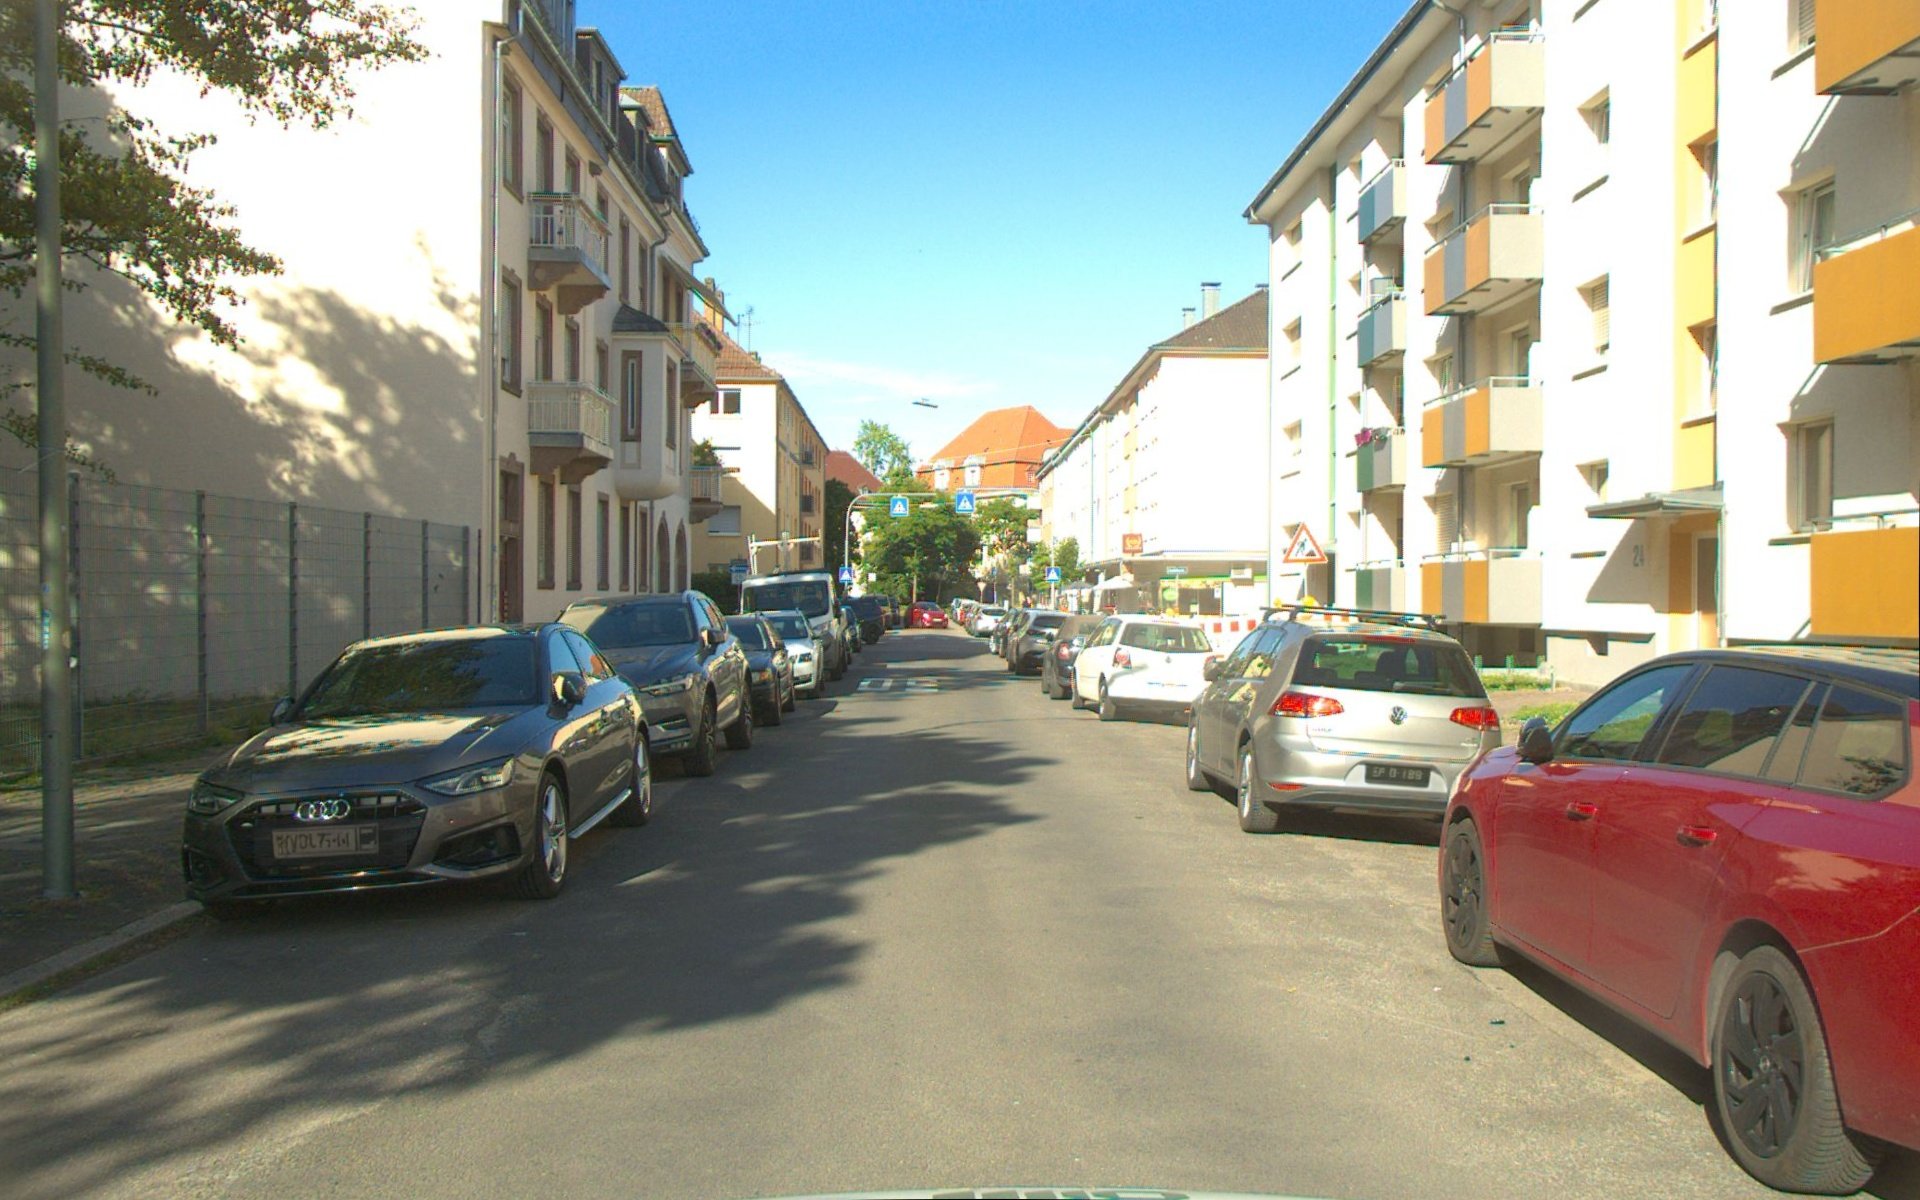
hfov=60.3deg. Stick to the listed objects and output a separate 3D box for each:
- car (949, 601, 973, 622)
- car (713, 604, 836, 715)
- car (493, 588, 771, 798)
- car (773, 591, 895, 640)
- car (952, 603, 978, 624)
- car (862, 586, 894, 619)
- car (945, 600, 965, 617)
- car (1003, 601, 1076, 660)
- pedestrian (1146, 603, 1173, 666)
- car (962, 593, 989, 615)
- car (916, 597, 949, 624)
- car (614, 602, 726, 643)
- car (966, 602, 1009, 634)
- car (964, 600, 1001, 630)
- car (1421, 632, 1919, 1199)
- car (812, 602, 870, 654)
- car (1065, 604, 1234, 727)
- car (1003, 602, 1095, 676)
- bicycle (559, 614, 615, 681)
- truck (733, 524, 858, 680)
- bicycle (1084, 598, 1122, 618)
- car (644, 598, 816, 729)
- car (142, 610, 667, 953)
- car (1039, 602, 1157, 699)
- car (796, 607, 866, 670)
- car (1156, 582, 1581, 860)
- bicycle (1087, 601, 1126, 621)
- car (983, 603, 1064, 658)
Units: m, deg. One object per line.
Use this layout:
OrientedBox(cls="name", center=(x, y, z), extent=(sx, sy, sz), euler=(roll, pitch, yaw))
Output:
OrientedBox(cls="car", center=(0.091, 0.834, 119.320), extent=(1.605, 1.466, 3.417), euler=(0, 0, -2))
OrientedBox(cls="car", center=(-3.136, 0.959, 28.818), extent=(1.757, 1.567, 4.638), euler=(-5, 1, -3))
OrientedBox(cls="car", center=(-3.003, 0.779, 16.214), extent=(1.841, 1.693, 4.930), euler=(-2, 0, -2))
OrientedBox(cls="car", center=(-4.348, 0.511, 57.670), extent=(1.795, 1.662, 4.231), euler=(0, 0, 42))
OrientedBox(cls="car", center=(0.332, 0.914, 114.527), extent=(1.605, 1.466, 3.417), euler=(0, 0, -2))
OrientedBox(cls="car", center=(-4.571, 0.149, 92.557), extent=(1.663, 1.810, 4.098), euler=(0, 0, -1))
OrientedBox(cls="car", center=(-0.427, 0.698, 143.075), extent=(1.605, 1.466, 3.417), euler=(0, 0, -2))
OrientedBox(cls="car", center=(2.098, 0.814, 44.521), extent=(1.612, 1.485, 3.938), euler=(1, -1, -2))
OrientedBox(cls="pedestrian", center=(4.652, 0.803, 38.629), extent=(0.563, 1.458, 0.471), euler=(-1, 0, 0))
OrientedBox(cls="car", center=(1.010, 0.265, 108.777), extent=(1.605, 1.466, 3.417), euler=(0, 0, -2))
OrientedBox(cls="car", center=(-1.534, 0.582, 93.571), extent=(1.662, 1.466, 3.419), euler=(0, 0, 2))
OrientedBox(cls="car", center=(-10.808, 0.825, 61.544), extent=(3.919, 1.505, 1.586), euler=(0, 0, -19))
OrientedBox(cls="car", center=(1.250, 0.829, 77.007), extent=(1.808, 1.466, 3.417), euler=(0, 0, -2))
OrientedBox(cls="car", center=(1.103, 0.719, 81.987), extent=(1.656, 1.466, 3.417), euler=(0, 0, -3))
OrientedBox(cls="car", center=(3.044, 0.880, 5.619), extent=(1.716, 1.469, 4.523), euler=(0, 0, 0))
OrientedBox(cls="car", center=(-3.721, 0.870, 52.209), extent=(1.670, 1.440, 4.371), euler=(-4, -1, -4))
OrientedBox(cls="car", center=(2.674, 0.894, 24.147), extent=(1.653, 1.488, 3.816), euler=(6, -1, -4))
OrientedBox(cls="car", center=(2.019, 0.877, 38.543), extent=(1.756, 1.496, 4.338), euler=(4, -1, -1))
OrientedBox(cls="bicycle", center=(-7.310, 0.917, 32.535), extent=(0.616, 1.225, 2.340), euler=(0, 1, -1))
OrientedBox(cls="truck", center=(-3.416, 0.076, 35.800), extent=(2.213, 3.038, 7.272), euler=(0, -1, -2))
OrientedBox(cls="bicycle", center=(7.031, 0.402, 81.477), extent=(1.774, 0.984, 0.672), euler=(0, 0, -12))
OrientedBox(cls="car", center=(-3.034, 0.807, 22.692), extent=(1.755, 1.590, 4.458), euler=(1, -1, -1))
OrientedBox(cls="car", center=(-2.948, 0.844, 9.861), extent=(1.758, 1.496, 4.499), euler=(-2, 0, -3))
OrientedBox(cls="car", center=(2.337, 0.828, 28.822), extent=(1.654, 1.492, 3.582), euler=(3, 0, -1))
OrientedBox(cls="car", center=(-3.274, 0.964, 42.486), extent=(1.613, 1.440, 4.078), euler=(-4, -1, -4))
OrientedBox(cls="car", center=(2.828, 0.767, 12.621), extent=(1.861, 1.650, 4.599), euler=(3, 0, -3))
OrientedBox(cls="bicycle", center=(7.159, 0.540, 80.851), extent=(1.774, 0.984, 0.672), euler=(0, 0, -12))
OrientedBox(cls="car", center=(1.847, 0.902, 49.529), extent=(1.817, 1.550, 4.772), euler=(1, -1, -5))
